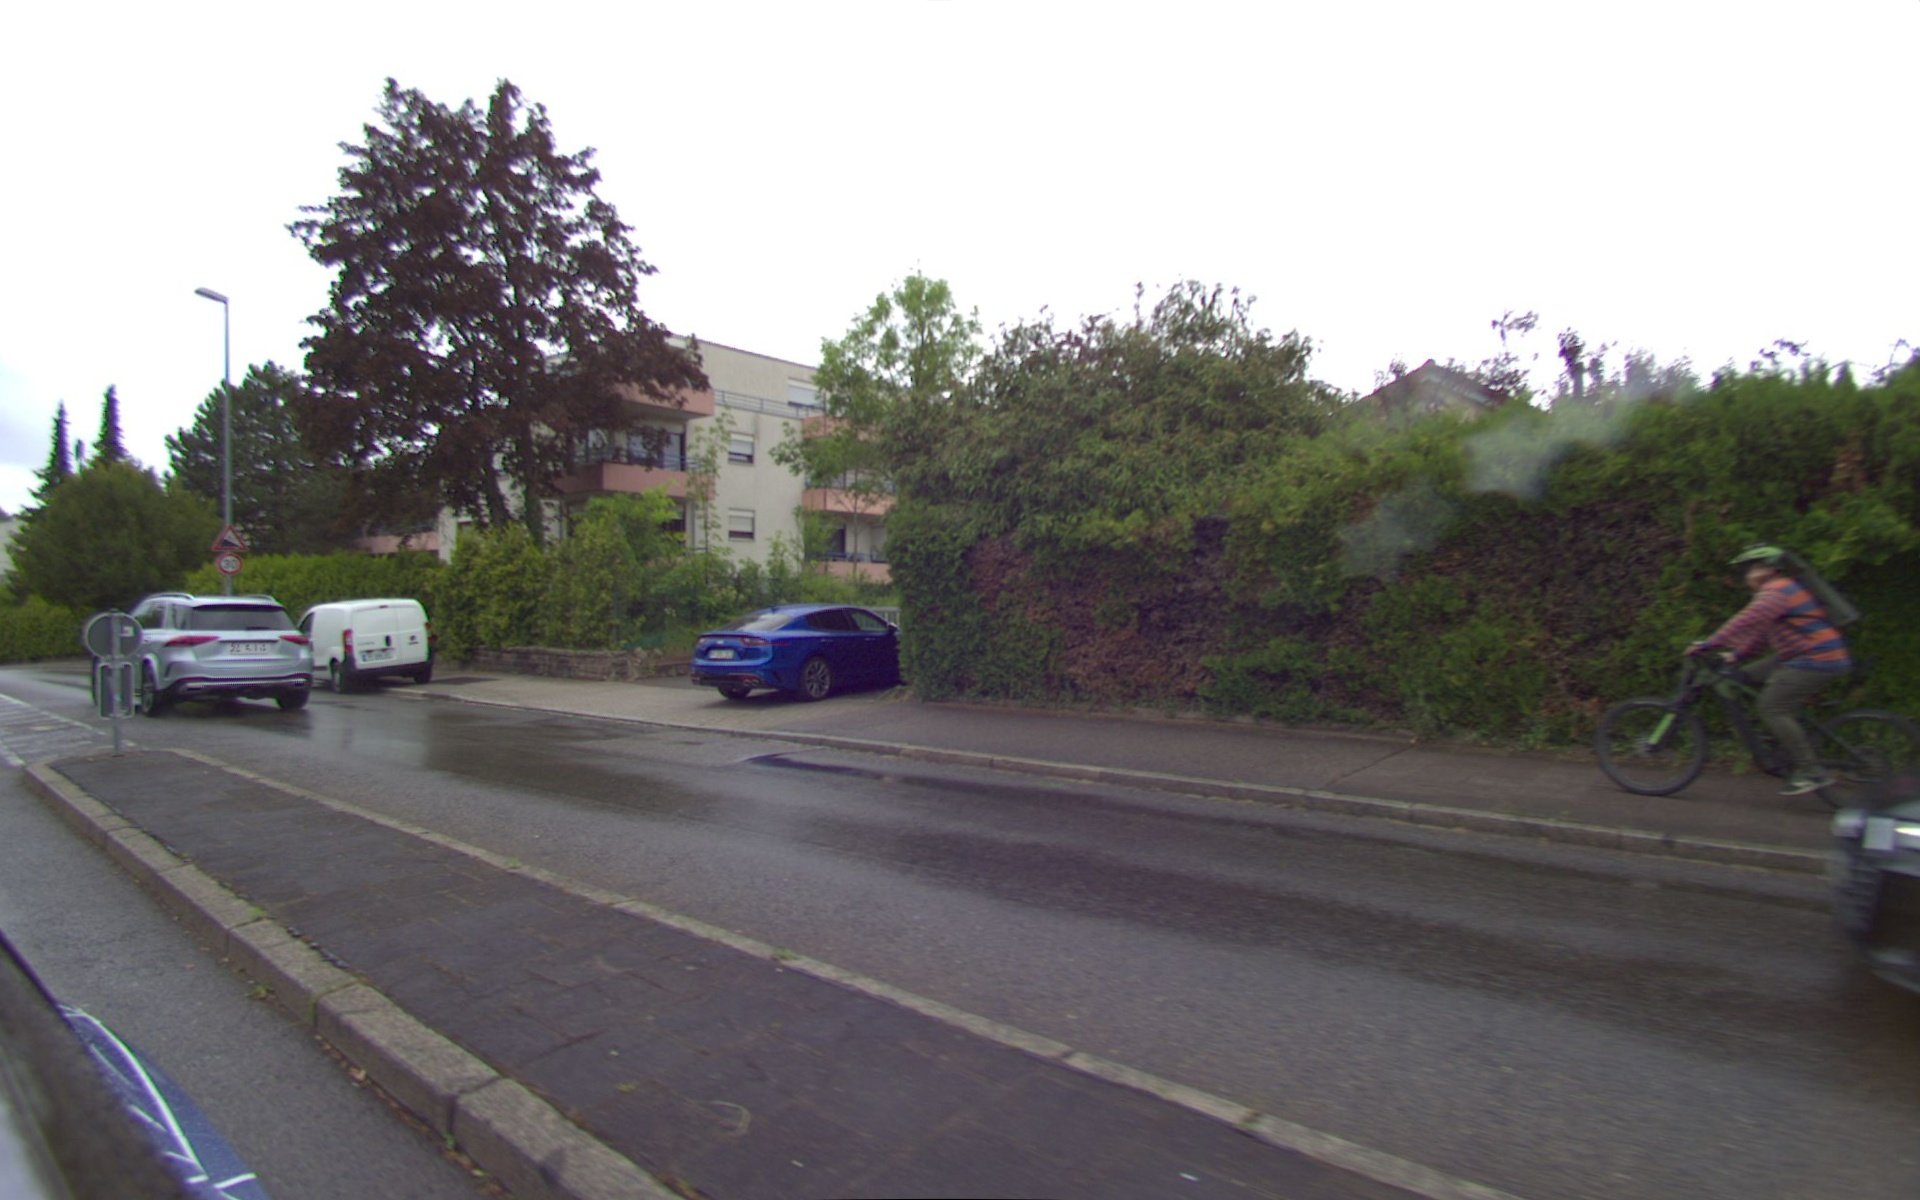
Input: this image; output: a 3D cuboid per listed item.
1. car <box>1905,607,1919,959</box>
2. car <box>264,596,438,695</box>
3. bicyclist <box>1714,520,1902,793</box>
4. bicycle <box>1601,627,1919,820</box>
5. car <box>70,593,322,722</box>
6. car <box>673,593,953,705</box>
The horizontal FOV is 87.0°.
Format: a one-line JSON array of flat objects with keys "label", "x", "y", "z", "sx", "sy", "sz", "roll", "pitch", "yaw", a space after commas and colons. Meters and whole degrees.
[{"label": "car", "x": 5.379, "y": 0.717, "z": 2.283, "sx": 4.549, "sy": 1.448, "sz": 1.721, "roll": -1, "pitch": -2, "yaw": 37}, {"label": "car", "x": -12.336, "y": 0.887, "z": 20.413, "sx": 3.974, "sy": 1.720, "sz": 1.684, "roll": -2, "pitch": 2, "yaw": 39}, {"label": "bicyclist", "x": 5.489, "y": 0.334, "z": 6.588, "sx": 0.867, "sy": 1.624, "sz": 0.757, "roll": -1, "pitch": 0, "yaw": 40}, {"label": "bicycle", "x": 5.445, "y": 0.750, "z": 6.658, "sx": 1.988, "sy": 1.094, "sz": 0.739, "roll": -1, "pitch": 1, "yaw": 40}, {"label": "car", "x": -11.997, "y": 0.857, "z": 15.807, "sx": 4.474, "sy": 1.729, "sz": 2.022, "roll": -2, "pitch": -2, "yaw": 38}, {"label": "car", "x": -2.137, "y": 0.693, "z": 15.960, "sx": 1.801, "sy": 1.372, "sz": 4.445, "roll": -3, "pitch": 0, "yaw": 34}]
